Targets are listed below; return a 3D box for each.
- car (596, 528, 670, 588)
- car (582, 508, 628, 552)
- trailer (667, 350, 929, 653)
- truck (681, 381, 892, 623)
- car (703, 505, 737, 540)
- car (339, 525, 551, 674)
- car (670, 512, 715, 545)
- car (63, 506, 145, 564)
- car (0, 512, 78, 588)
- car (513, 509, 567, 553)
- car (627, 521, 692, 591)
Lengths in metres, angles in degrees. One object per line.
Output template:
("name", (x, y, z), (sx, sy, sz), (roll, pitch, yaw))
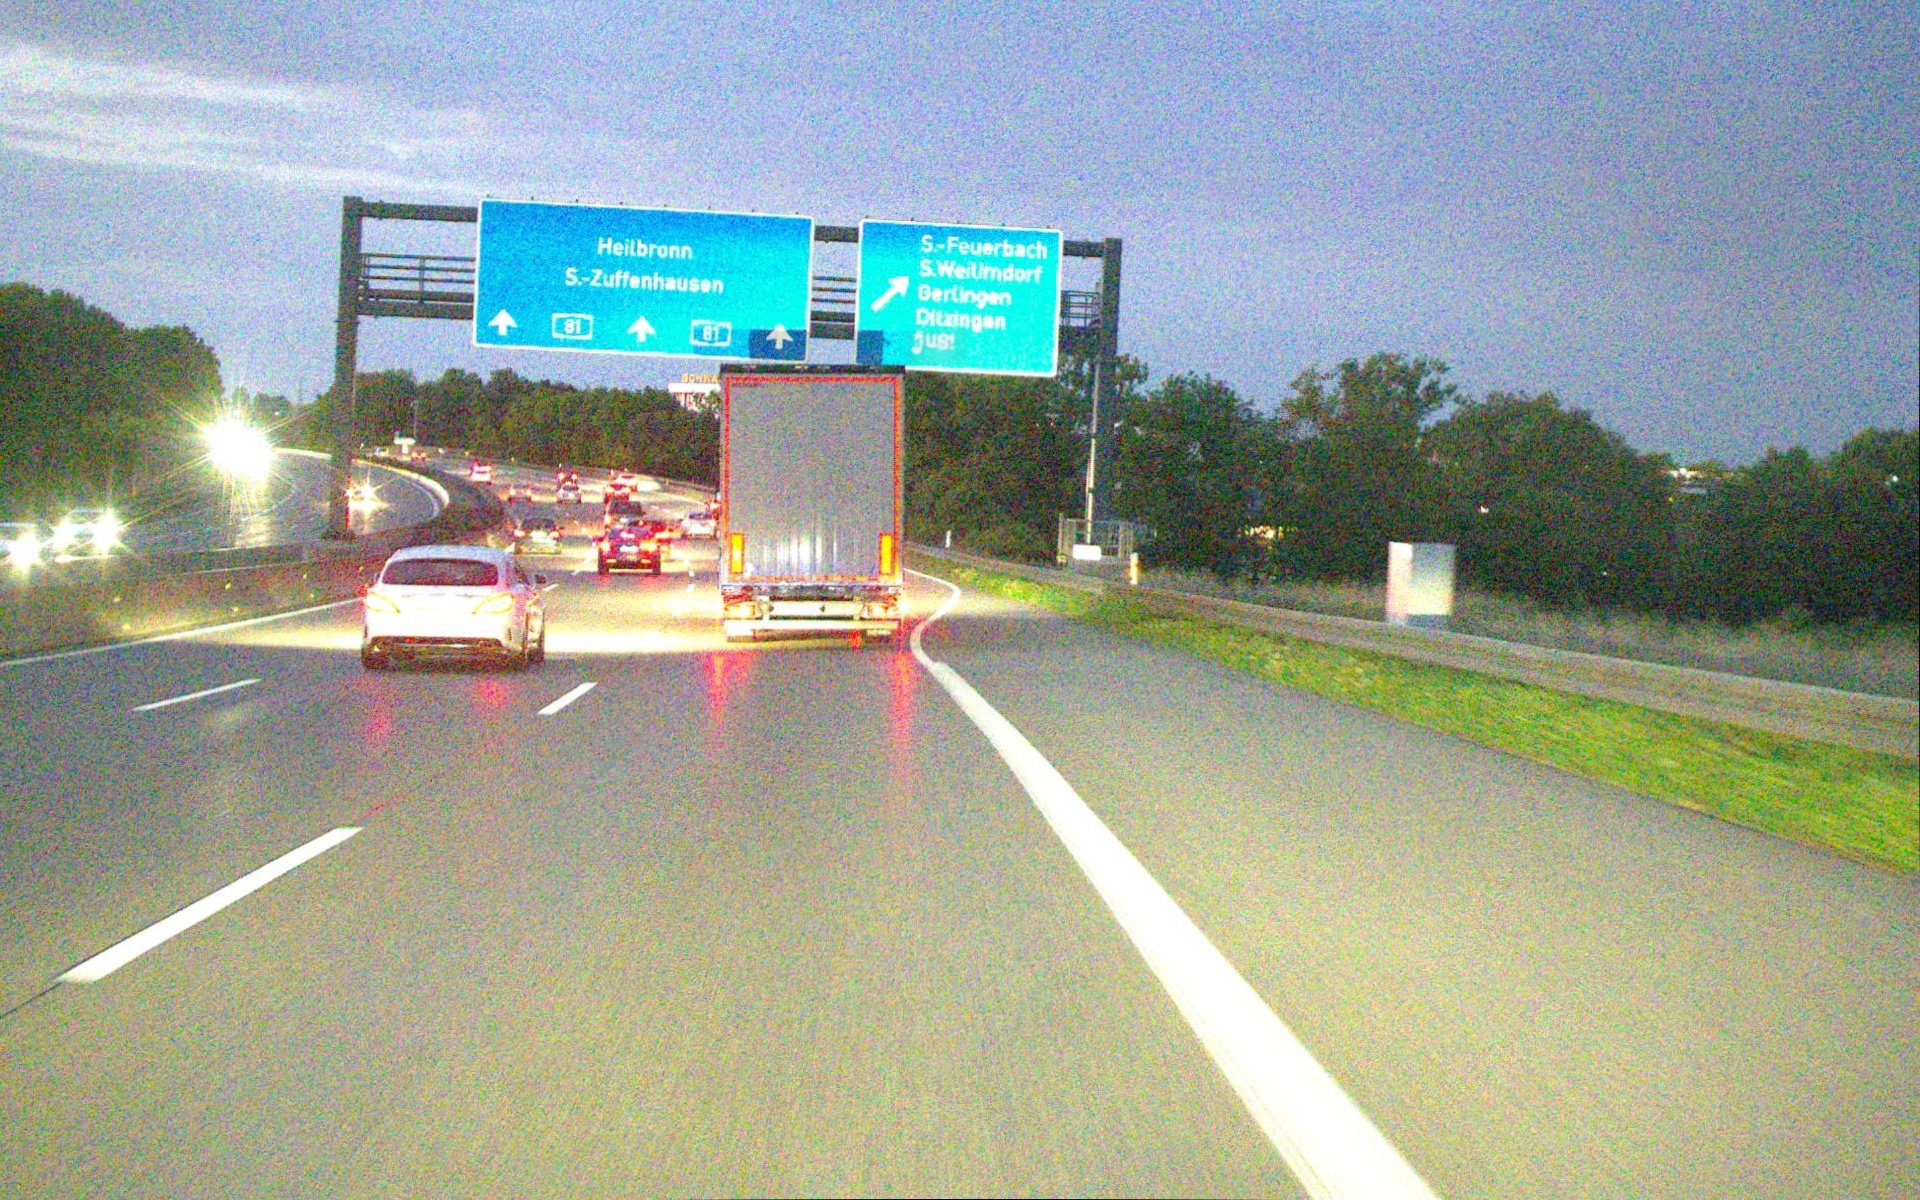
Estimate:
("car", (-9.816, -1.235, 103.507), (2.065, 1.680, 4.577), (2, 0, -4))
("car", (-17.537, -3.446, 170.074), (1.993, 2.007, 4.000), (2, 0, -3))
("trailer", (-2.696, -1.543, 54.232), (3.550, 4.102, 15.066), (0, 2, -4))
("truck", (-3.142, -1.740, 61.250), (3.550, 4.077, 6.153), (0, 2, -4))
("car", (-14.916, -4.816, 214.070), (1.993, 1.971, 4.000), (2, 0, -3))
("car", (-6.022, 0.001, 40.699), (1.906, 1.609, 4.804), (2, 0, -2))
("car", (-13.551, -3.628, 174.223), (1.993, 1.529, 4.000), (2, 0, -1))
("car", (-29.952, -2.260, 120.429), (1.993, 1.887, 4.680), (2, 0, -4))
("car", (-24.479, -1.280, 89.512), (1.875, 1.887, 5.058), (2, 0, -3))
("car", (-16.482, -2.707, 135.145), (1.761, 1.569, 4.577), (2, 0, -3))
("car", (-10.704, -1.546, 122.328), (1.993, 2.372, 4.001), (2, 0, -8))
